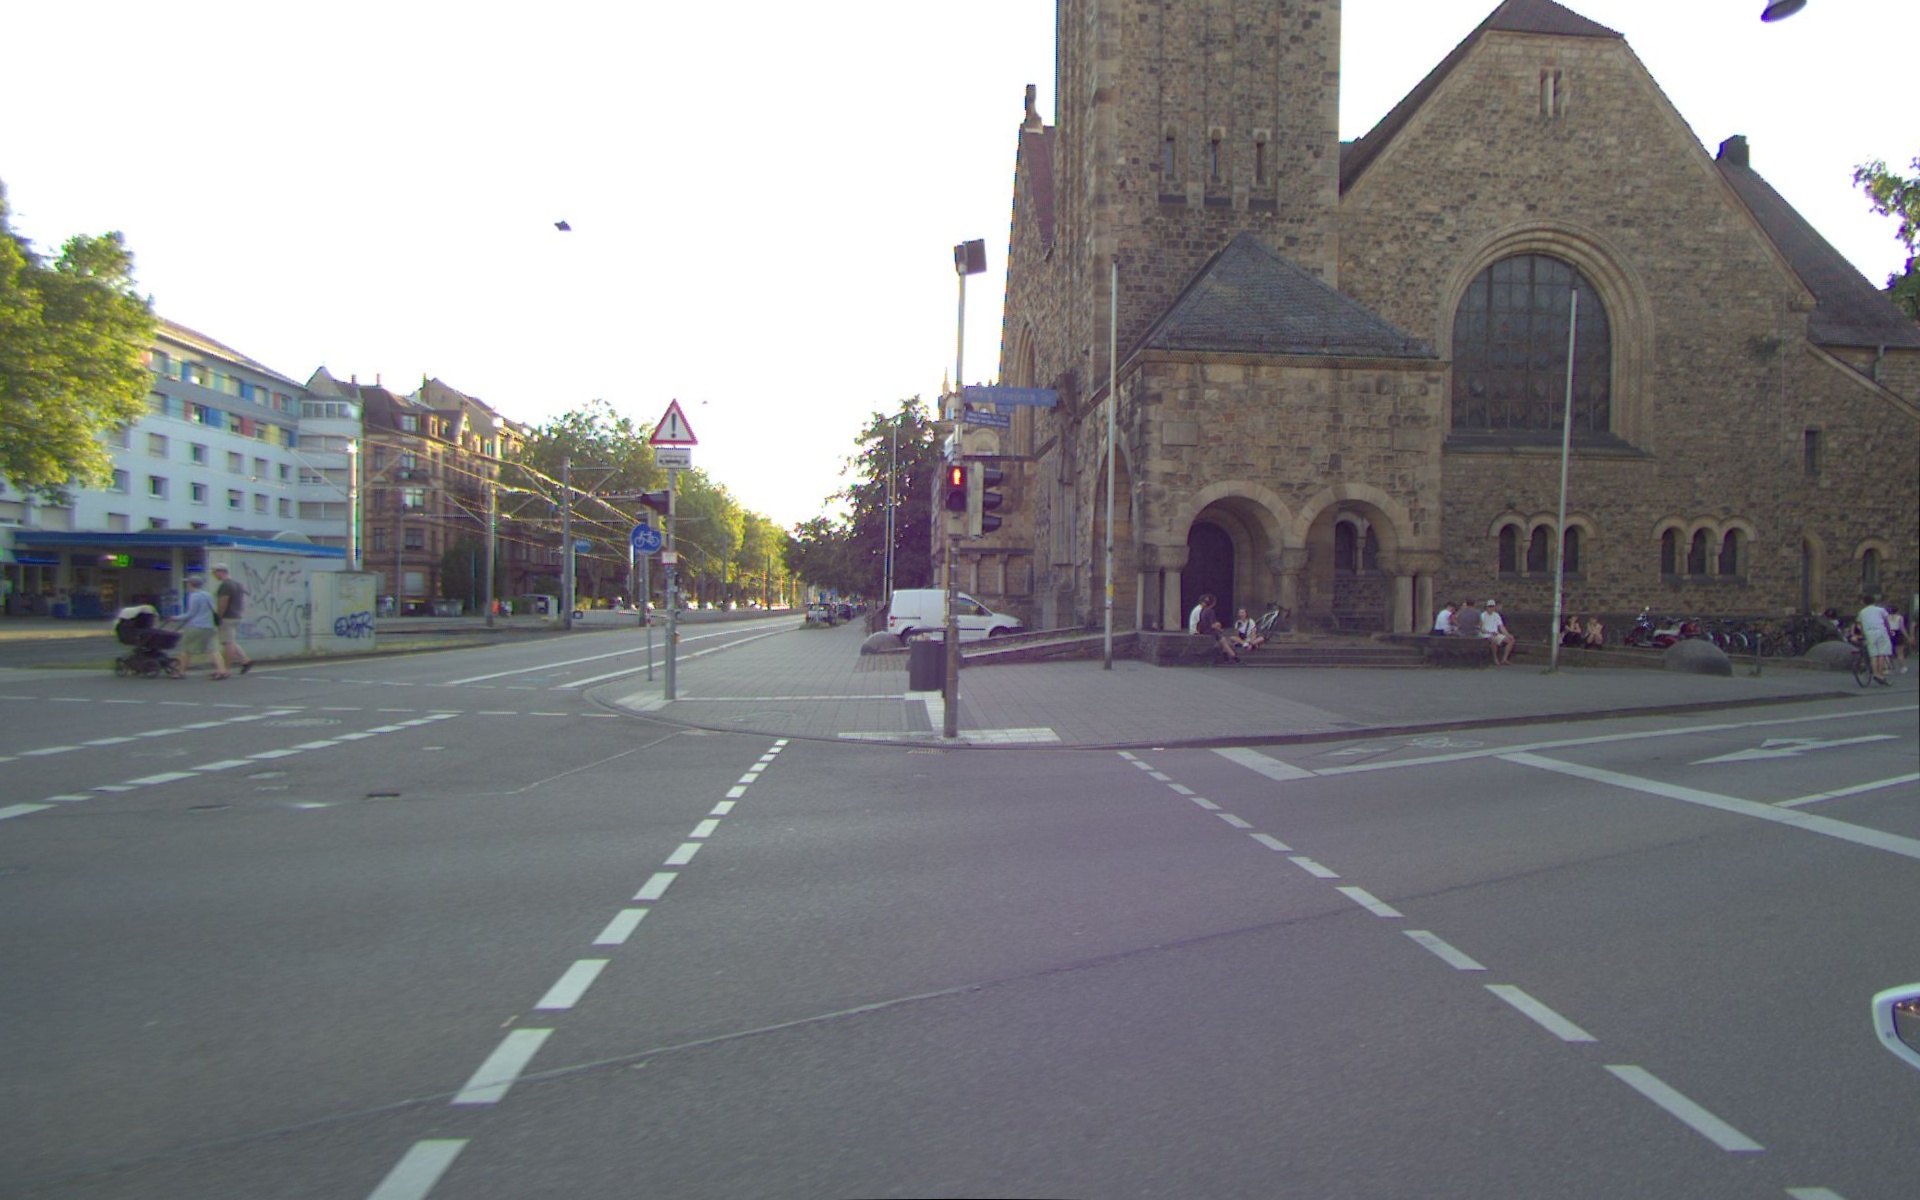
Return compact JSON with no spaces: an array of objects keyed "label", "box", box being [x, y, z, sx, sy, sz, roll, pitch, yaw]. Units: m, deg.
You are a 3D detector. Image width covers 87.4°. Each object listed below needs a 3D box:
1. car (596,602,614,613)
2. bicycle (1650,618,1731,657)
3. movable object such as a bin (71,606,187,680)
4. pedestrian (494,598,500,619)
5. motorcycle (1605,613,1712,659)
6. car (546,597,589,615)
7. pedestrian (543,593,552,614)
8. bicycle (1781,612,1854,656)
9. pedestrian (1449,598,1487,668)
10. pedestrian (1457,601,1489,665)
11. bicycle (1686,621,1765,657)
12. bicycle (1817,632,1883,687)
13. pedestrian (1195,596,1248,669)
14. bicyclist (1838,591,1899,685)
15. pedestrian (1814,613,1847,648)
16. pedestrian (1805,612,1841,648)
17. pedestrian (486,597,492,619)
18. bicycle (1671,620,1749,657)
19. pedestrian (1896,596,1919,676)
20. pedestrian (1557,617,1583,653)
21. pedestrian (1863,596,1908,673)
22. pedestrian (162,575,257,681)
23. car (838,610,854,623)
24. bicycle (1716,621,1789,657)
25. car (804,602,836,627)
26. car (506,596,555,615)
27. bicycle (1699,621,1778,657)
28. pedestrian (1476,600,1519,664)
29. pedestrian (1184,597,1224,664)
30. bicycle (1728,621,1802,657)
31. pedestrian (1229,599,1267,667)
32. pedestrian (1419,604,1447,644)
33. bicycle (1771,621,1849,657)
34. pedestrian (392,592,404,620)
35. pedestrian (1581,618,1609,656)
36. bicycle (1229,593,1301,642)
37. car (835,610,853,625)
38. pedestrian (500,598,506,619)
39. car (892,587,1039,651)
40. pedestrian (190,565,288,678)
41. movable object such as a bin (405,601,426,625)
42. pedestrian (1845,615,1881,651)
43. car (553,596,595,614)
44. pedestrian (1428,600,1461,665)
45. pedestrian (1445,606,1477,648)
[{"label":"car","box":[-44.827,0.970,126.762,1.480,1.415,3.224,1,0,-8]},{"label":"bicycle","box":[21.428,1.085,29.524,0.576,1.003,2.002,1,3,-14]},{"label":"movable object such as a bin","box":[-13.201,0.670,15.992,1.117,1.134,0.861,1,0,-9]},{"label":"pedestrian","box":[-40.835,0.709,88.545,0.446,1.850,0.550,1,0,-22]},{"label":"motorcycle","box":[19.958,0.995,28.767,0.811,1.141,2.407,0,2,-25]},{"label":"car","box":[-45.512,0.668,116.531,4.299,2.040,1.997,1,0,-9]},{"label":"pedestrian","box":[-40.874,0.332,99.533,0.601,2.040,0.806,1,0,-7]},{"label":"bicycle","box":[25.735,1.011,30.185,0.430,1.265,1.728,1,0,-15]},{"label":"pedestrian","box":[10.859,0.694,21.494,0.546,1.473,0.550,1,0,6]},{"label":"pedestrian","box":[11.578,0.746,22.681,0.449,1.425,0.548,1,0,6]},{"label":"bicycle","box":[22.579,1.128,29.683,0.458,1.002,2.002,1,0,-14]},{"label":"bicycle","box":[18.715,1.225,21.171,0.543,1.026,2.184,2,1,29]},{"label":"pedestrian","box":[5.350,0.656,20.593,0.897,1.473,0.630,1,0,-3]},{"label":"bicyclist","box":[18.996,0.771,21.019,0.695,1.905,0.941,2,1,29]},{"label":"pedestrian","box":[26.942,0.931,31.085,0.596,1.062,0.498,1,0,-9]},{"label":"pedestrian","box":[26.351,0.908,30.670,0.726,1.062,0.519,1,0,31]},{"label":"pedestrian","box":[-41.299,0.703,88.096,0.446,1.850,0.550,1,0,-22]},{"label":"bicycle","box":[22.081,1.120,29.613,0.458,1.002,2.002,1,0,-14]},{"label":"pedestrian","box":[23.280,0.864,24.364,0.881,1.904,0.643,1,0,-33]},{"label":"pedestrian","box":[16.683,0.953,27.499,0.551,0.980,0.649,1,0,27]},{"label":"pedestrian","box":[22.904,0.845,24.854,0.978,1.881,0.569,1,0,-33]},{"label":"pedestrian","box":[-12.043,0.440,16.150,0.989,1.656,0.719,0,0,-9]},{"label":"car","box":[-12.986,1.875,114.626,1.721,1.437,3.996,1,0,-6]},{"label":"bicycle","box":[23.546,1.146,29.869,0.364,1.002,1.879,1,0,-14]},{"label":"car","box":[-9.095,0.922,65.503,1.799,1.572,3.914,1,0,-5]},{"label":"car","box":[-45.478,0.581,106.401,4.409,2.040,1.998,1,0,-7]},{"label":"bicycle","box":[23.051,1.127,29.783,0.458,1.002,1.985,1,0,-14]},{"label":"pedestrian","box":[12.143,0.712,22.710,0.619,1.425,0.704,1,0,6]},{"label":"pedestrian","box":[5.178,0.644,21.342,0.685,1.393,0.804,1,0,4]},{"label":"bicycle","box":[23.986,1.152,29.957,0.364,1.002,1.879,1,0,-14]},{"label":"pedestrian","box":[6.091,0.687,21.201,0.686,1.393,0.803,1,0,22]},{"label":"pedestrian","box":[13.191,0.673,28.016,0.635,1.090,0.830,1,0,21]},{"label":"bicycle","box":[25.334,1.146,29.989,0.434,1.002,1.879,1,0,-14]},{"label":"pedestrian","box":[-40.844,0.459,73.034,0.547,2.040,0.608,1,0,-4]},{"label":"pedestrian","box":[17.234,0.999,27.274,0.551,1.005,0.695,1,0,27]},{"label":"bicycle","box":[7.051,0.395,23.339,0.584,1.071,2.281,1,0,-11]},{"label":"car","box":[-11.331,1.670,98.491,1.721,1.437,3.996,1,0,-6]},{"label":"pedestrian","box":[-40.390,0.715,88.772,0.446,1.850,0.550,1,0,-22]},{"label":"car","box":[0.132,0.565,30.565,4.321,1.832,1.584,1,0,-3]},{"label":"pedestrian","box":[-12.167,0.359,16.980,1.139,1.872,0.710,0,0,-9]},{"label":"movable object such as a bin","box":[-45.815,1.090,84.528,1.478,2.040,1.347,0,0,-33]},{"label":"pedestrian","box":[27.422,0.987,30.502,0.688,1.070,0.516,1,0,-12]},{"label":"car","box":[-45.885,0.635,119.526,4.299,2.040,1.997,1,0,-9]},{"label":"pedestrian","box":[10.660,0.707,22.101,0.537,1.425,0.402,1,0,6]},{"label":"pedestrian","box":[13.791,0.727,27.674,0.672,1.109,1.333,1,0,21]}]
